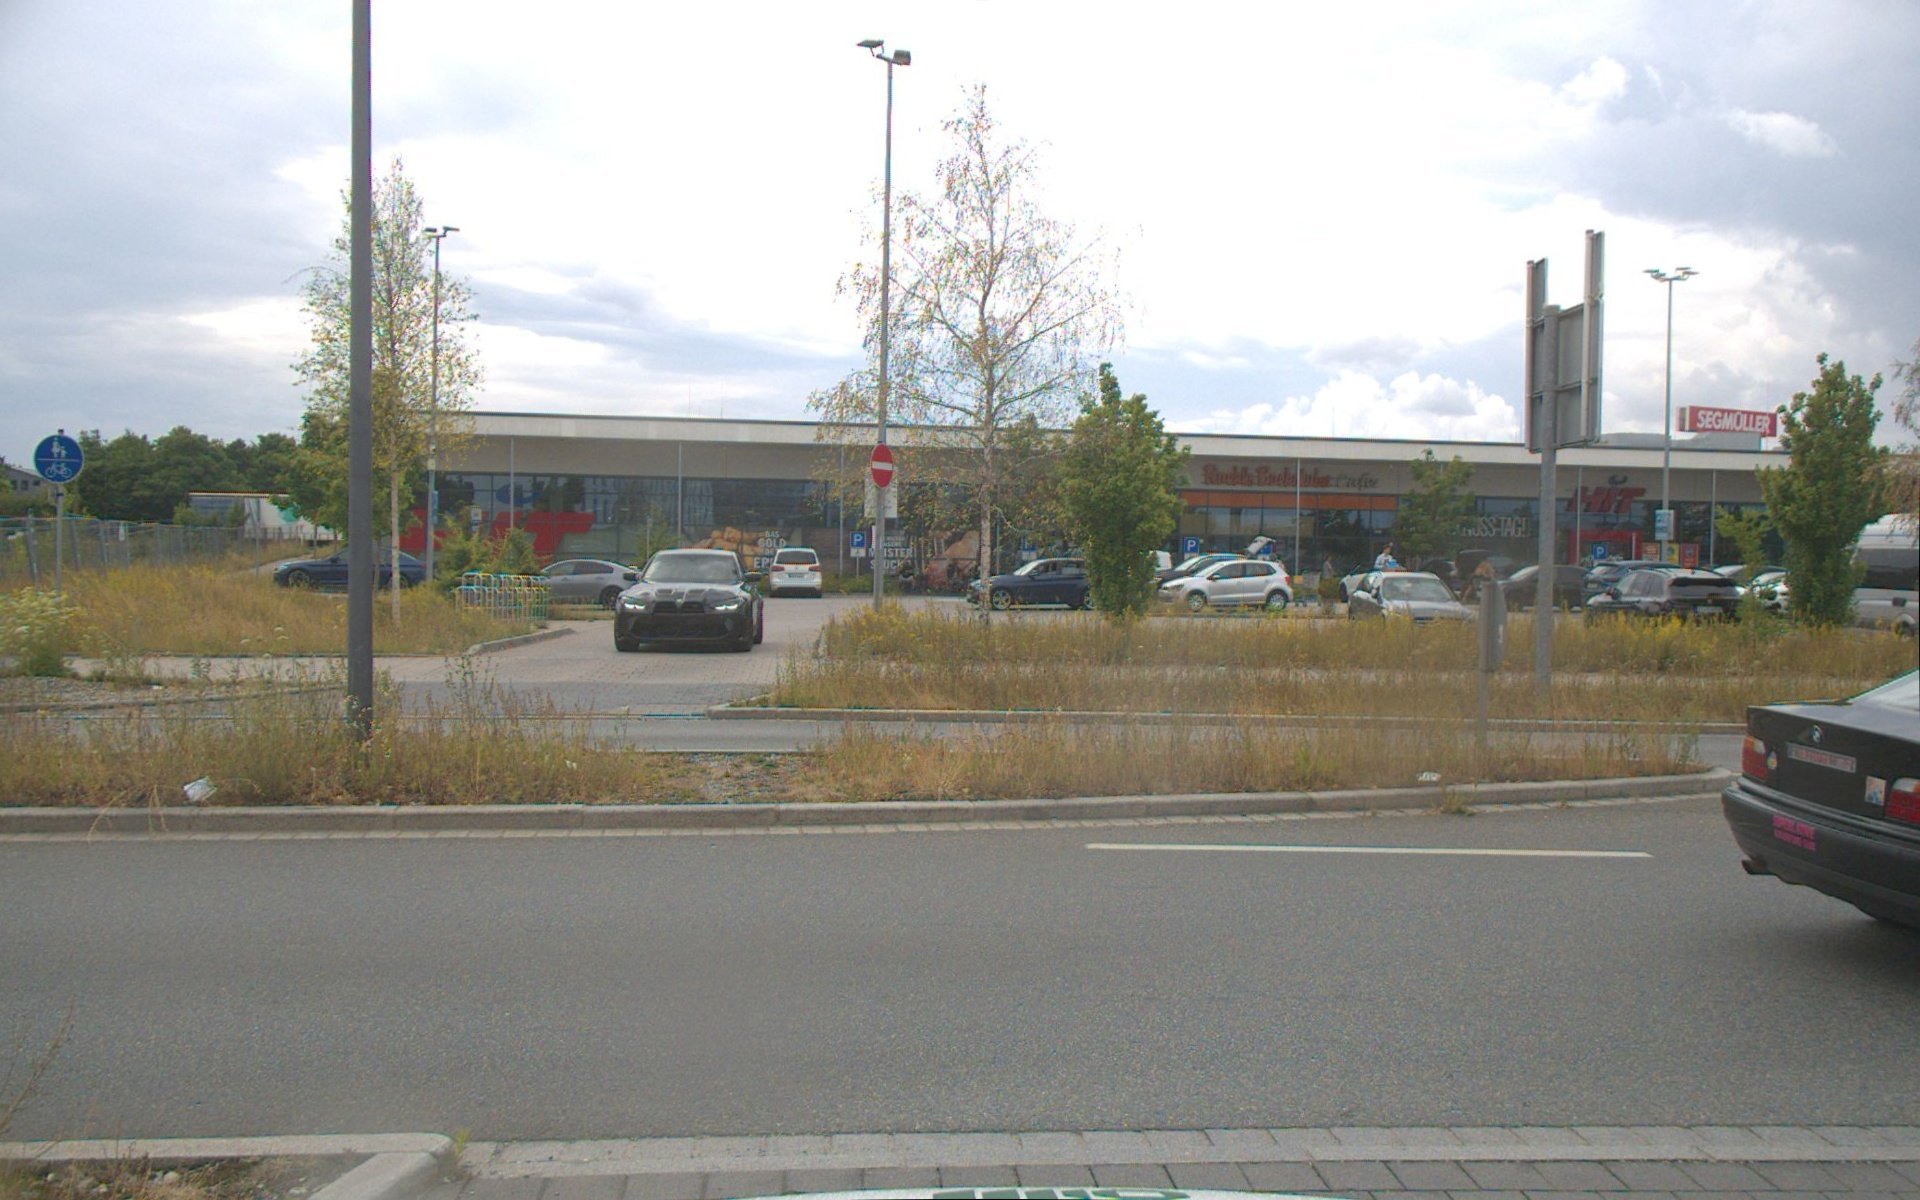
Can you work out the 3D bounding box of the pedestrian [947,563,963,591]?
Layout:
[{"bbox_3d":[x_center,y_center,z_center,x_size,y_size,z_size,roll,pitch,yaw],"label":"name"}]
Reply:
[{"bbox_3d":[-0.201,-0.949,68.612,0.566,1.143,0.560,0,1,-11],"label":"pedestrian"}]

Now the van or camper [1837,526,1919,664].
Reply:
[{"bbox_3d":[18.918,-0.085,31.813,2.234,2.535,4.003,1,1,6],"label":"van or camper"}]

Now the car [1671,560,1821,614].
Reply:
[{"bbox_3d":[25.376,-0.446,53.512,3.904,1.646,2.001,1,2,1],"label":"car"}]

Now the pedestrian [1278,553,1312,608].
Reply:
[{"bbox_3d":[10.294,-0.615,50.866,0.805,1.660,0.899,1,1,-2],"label":"pedestrian"}]

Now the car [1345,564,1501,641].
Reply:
[{"bbox_3d":[9.120,0.005,32.955,1.948,1.408,4.150,1,1,0],"label":"car"}]

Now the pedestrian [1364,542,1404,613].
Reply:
[{"bbox_3d":[12.584,-0.677,49.087,0.847,2.048,1.003,1,2,-3],"label":"pedestrian"}]

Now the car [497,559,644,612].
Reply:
[{"bbox_3d":[-11.058,-0.422,47.195,3.914,1.375,1.996,1,1,-10],"label":"car"}]

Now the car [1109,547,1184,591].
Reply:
[{"bbox_3d":[6.845,-1.168,61.083,1.955,1.534,3.996,1,2,-5],"label":"car"}]

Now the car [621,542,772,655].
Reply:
[{"bbox_3d":[-3.761,-0.072,24.275,1.744,1.470,4.607,1,1,-4],"label":"car"}]

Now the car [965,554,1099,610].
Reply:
[{"bbox_3d":[2.011,-0.514,46.771,3.540,1.479,1.665,1,2,-9],"label":"car"}]

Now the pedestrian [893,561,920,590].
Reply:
[{"bbox_3d":[-2.231,-1.013,68.897,0.953,1.174,1.131,1,2,-9],"label":"pedestrian"}]

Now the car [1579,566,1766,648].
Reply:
[{"bbox_3d":[14.063,0.088,32.919,1.948,1.476,4.150,1,1,0],"label":"car"}]

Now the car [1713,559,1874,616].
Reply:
[{"bbox_3d":[25.515,-0.403,50.720,3.904,1.646,2.001,1,2,1],"label":"car"}]

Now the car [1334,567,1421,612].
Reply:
[{"bbox_3d":[15.660,-0.415,62.230,1.955,1.534,3.997,1,2,-5],"label":"car"}]

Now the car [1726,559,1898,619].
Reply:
[{"bbox_3d":[24.559,-0.338,47.773,3.904,1.646,2.001,1,2,1],"label":"car"}]

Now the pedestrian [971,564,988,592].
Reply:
[{"bbox_3d":[0.790,-0.911,67.857,0.566,1.143,0.560,0,1,-11],"label":"pedestrian"}]

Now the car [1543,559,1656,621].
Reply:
[{"bbox_3d":[18.519,-0.334,48.073,1.777,1.682,4.001,1,2,1],"label":"car"}]

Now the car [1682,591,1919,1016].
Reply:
[{"bbox_3d":[5.356,0.721,6.584,4.202,1.410,1.758,1,2,-4],"label":"car"}]

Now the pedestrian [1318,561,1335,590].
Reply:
[{"bbox_3d":[15.398,-1.028,69.474,0.549,1.222,0.527,1,1,-7],"label":"pedestrian"}]

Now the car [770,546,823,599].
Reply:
[{"bbox_3d":[-5.794,-1.002,58.976,1.788,1.729,4.231,1,3,-5],"label":"car"}]

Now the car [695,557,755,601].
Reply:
[{"bbox_3d":[-8.319,-0.784,58.769,1.869,1.469,3.997,1,2,-5],"label":"car"}]

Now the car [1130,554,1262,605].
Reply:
[{"bbox_3d":[7.214,-0.633,50.702,3.676,1.479,1.665,1,2,-8],"label":"car"}]

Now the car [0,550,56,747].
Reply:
[{"bbox_3d":[-9.519,0.339,12.784,4.248,1.492,1.785,0,2,-23],"label":"car"}]

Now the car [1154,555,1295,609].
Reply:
[{"bbox_3d":[7.630,-0.536,47.858,3.676,1.479,1.665,1,2,-8],"label":"car"}]

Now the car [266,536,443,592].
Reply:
[{"bbox_3d":[-18.819,-1.115,51.613,4.919,1.585,1.995,1,1,-12],"label":"car"}]

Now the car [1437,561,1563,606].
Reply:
[{"bbox_3d":[19.824,-0.622,60.777,3.910,1.534,1.998,1,2,-6],"label":"car"}]
